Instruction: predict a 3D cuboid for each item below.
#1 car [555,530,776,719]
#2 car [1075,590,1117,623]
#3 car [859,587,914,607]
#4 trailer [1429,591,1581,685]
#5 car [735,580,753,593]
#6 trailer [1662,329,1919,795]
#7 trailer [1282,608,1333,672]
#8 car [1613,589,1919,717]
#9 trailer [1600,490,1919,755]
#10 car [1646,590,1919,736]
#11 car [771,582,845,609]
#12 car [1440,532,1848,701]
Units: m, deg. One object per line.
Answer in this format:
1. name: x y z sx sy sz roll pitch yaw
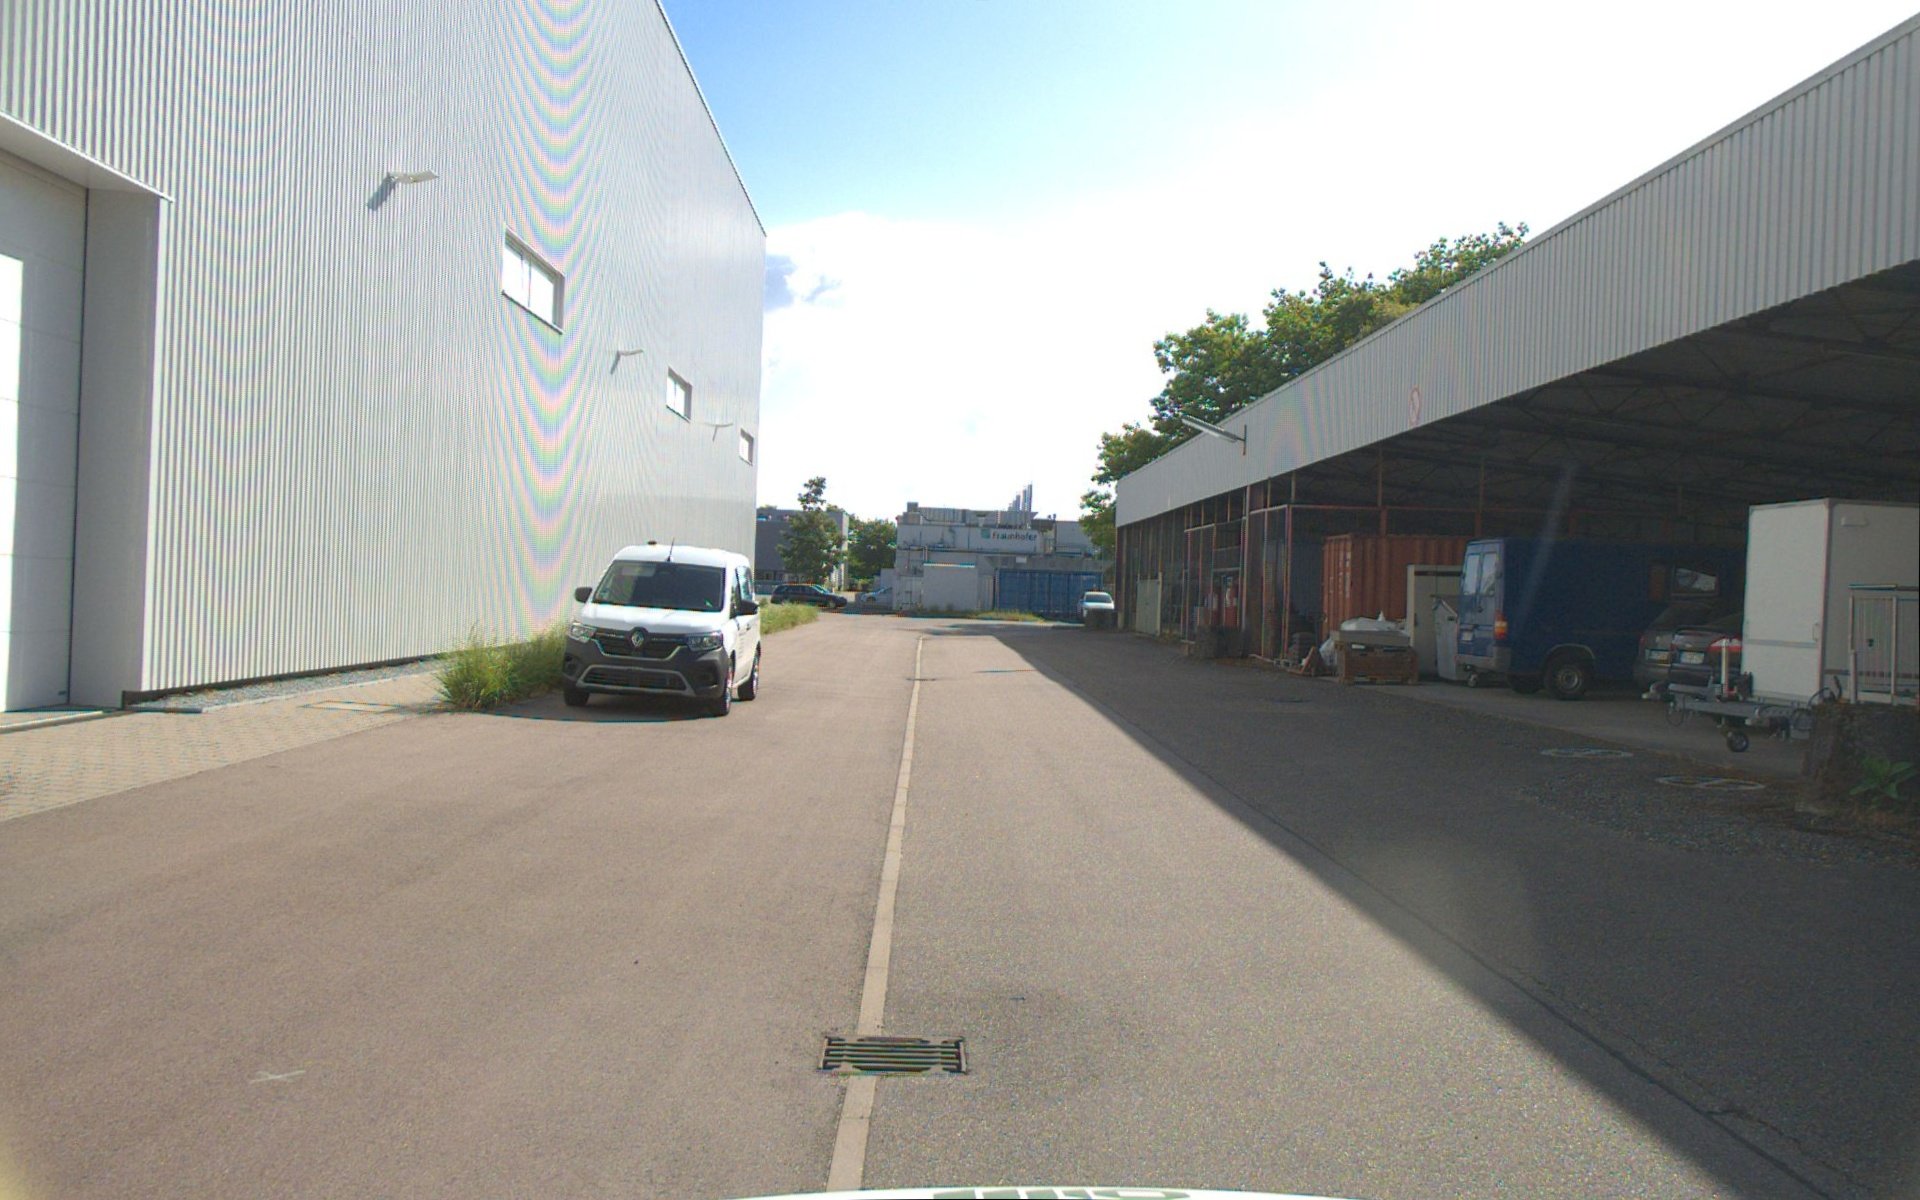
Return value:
1. car: -3.282 0.258 19.311 1.747 1.847 4.600 3 0 -1
2. car: 7.283 0.311 89.071 1.939 1.630 4.378 1 1 0
3. car: -5.725 -0.203 129.108 4.216 1.483 1.823 1 0 -2
4. trailer: 9.000 0.608 27.428 1.996 1.492 1.739 0 0 3
5. car: -25.586 -1.553 196.070 1.821 1.521 4.027 0 0 -3
6. trailer: 11.377 -0.248 13.578 10.059 3.401 2.801 0 0 -1
7. trailer: 6.398 0.728 30.475 0.541 1.138 1.546 0 0 -3
8. car: 10.881 0.680 21.707 3.886 1.540 1.838 1 0 -4
9. trailer: 8.801 0.216 16.014 4.424 2.383 2.047 0 0 0
10. car: 10.189 0.695 18.605 4.164 1.497 1.868 1 0 -4
11. car: -9.296 -0.292 101.123 4.358 1.558 1.823 1 0 -2
12. car: 10.160 0.244 24.843 5.225 2.321 2.152 1 0 -2
